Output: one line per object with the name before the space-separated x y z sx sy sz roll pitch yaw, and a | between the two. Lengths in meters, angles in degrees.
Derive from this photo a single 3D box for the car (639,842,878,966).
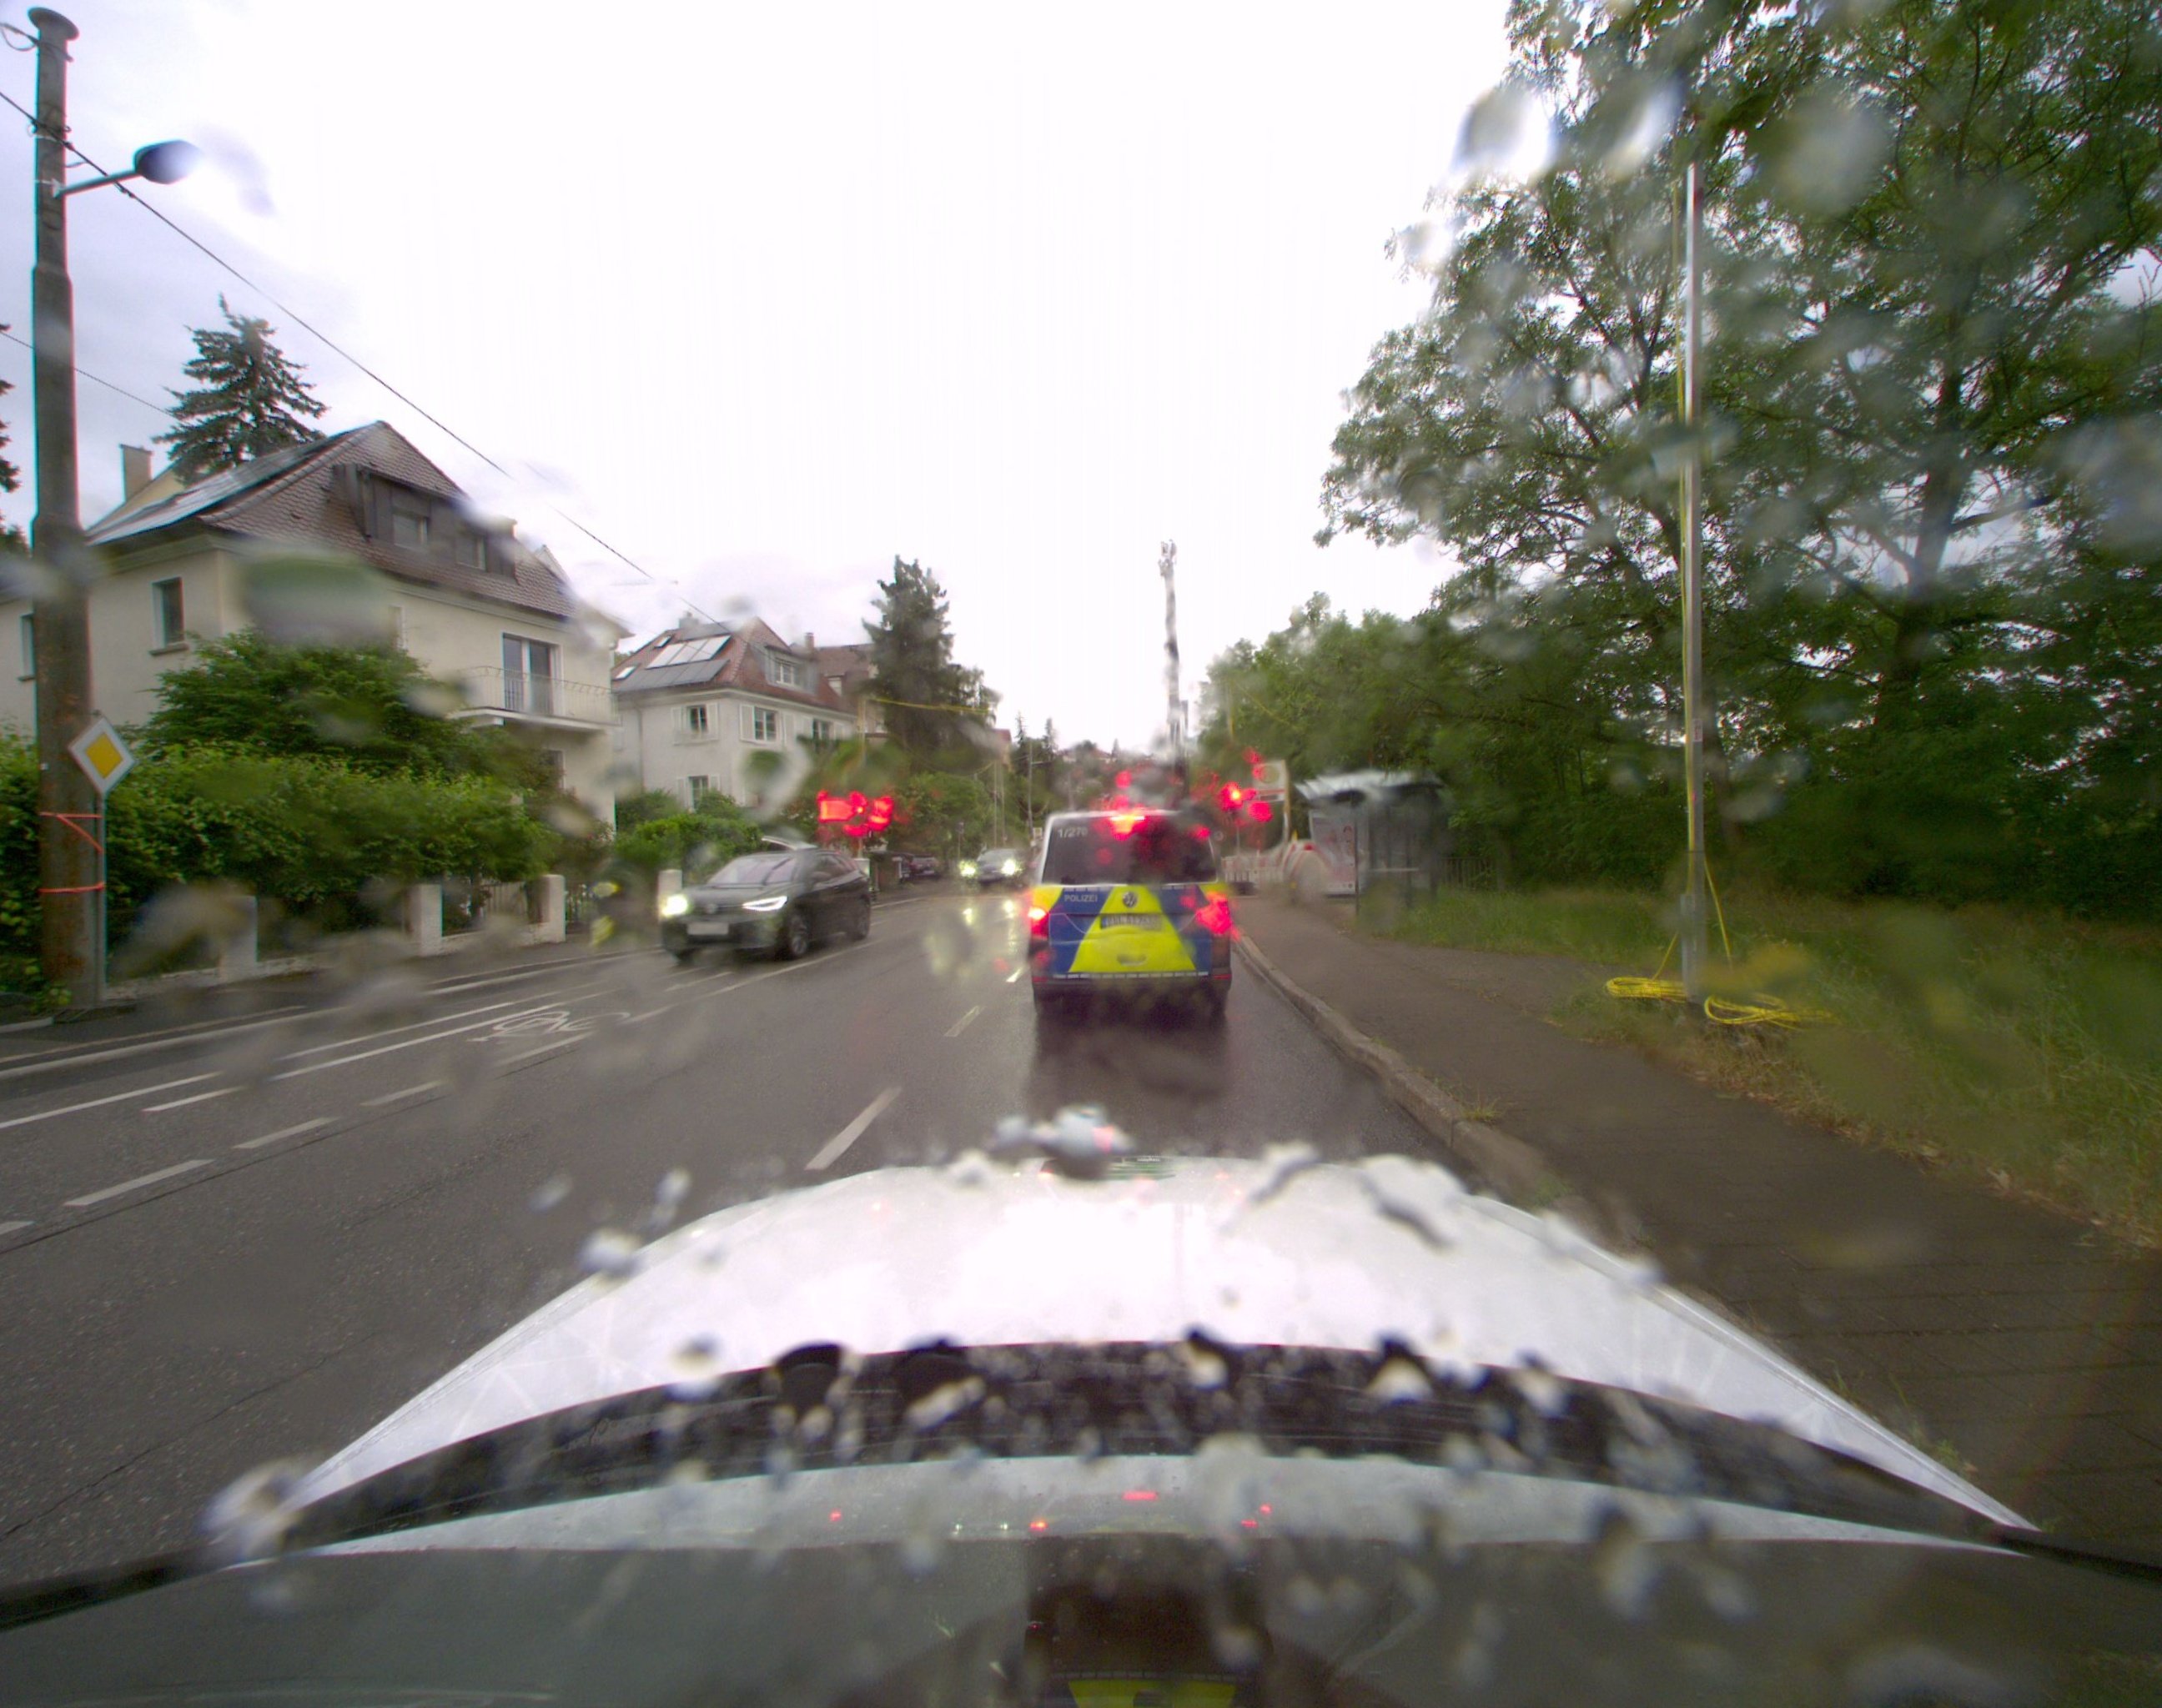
car | -4.904 0.690 13.129 1.858 1.621 4.170 -2 0 5

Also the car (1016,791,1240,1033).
car | 0.464 0.487 8.936 1.886 2.050 4.002 0 0 2

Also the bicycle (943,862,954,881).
bicycle | -6.497 0.835 39.884 0.463 0.897 1.627 -1 0 -12

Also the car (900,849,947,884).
car | -7.451 0.565 38.294 1.770 1.486 3.720 0 1 -17

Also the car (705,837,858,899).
car | -10.277 0.467 28.052 4.599 2.007 1.907 0 0 13

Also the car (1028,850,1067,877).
car | -1.895 0.511 47.429 1.755 1.463 3.892 0 0 6

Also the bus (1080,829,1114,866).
bus | 1.906 -0.702 89.494 2.827 3.718 12.022 0 0 5

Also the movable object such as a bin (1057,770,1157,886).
movable object such as a bin | 1.109 -0.923 31.767 2.809 4.177 4.400 0 0 17

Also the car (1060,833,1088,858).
car | -0.574 -0.608 60.261 1.974 1.748 4.550 0 0 -2

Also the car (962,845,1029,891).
car | -3.249 0.521 31.922 1.986 1.674 4.690 0 0 2
